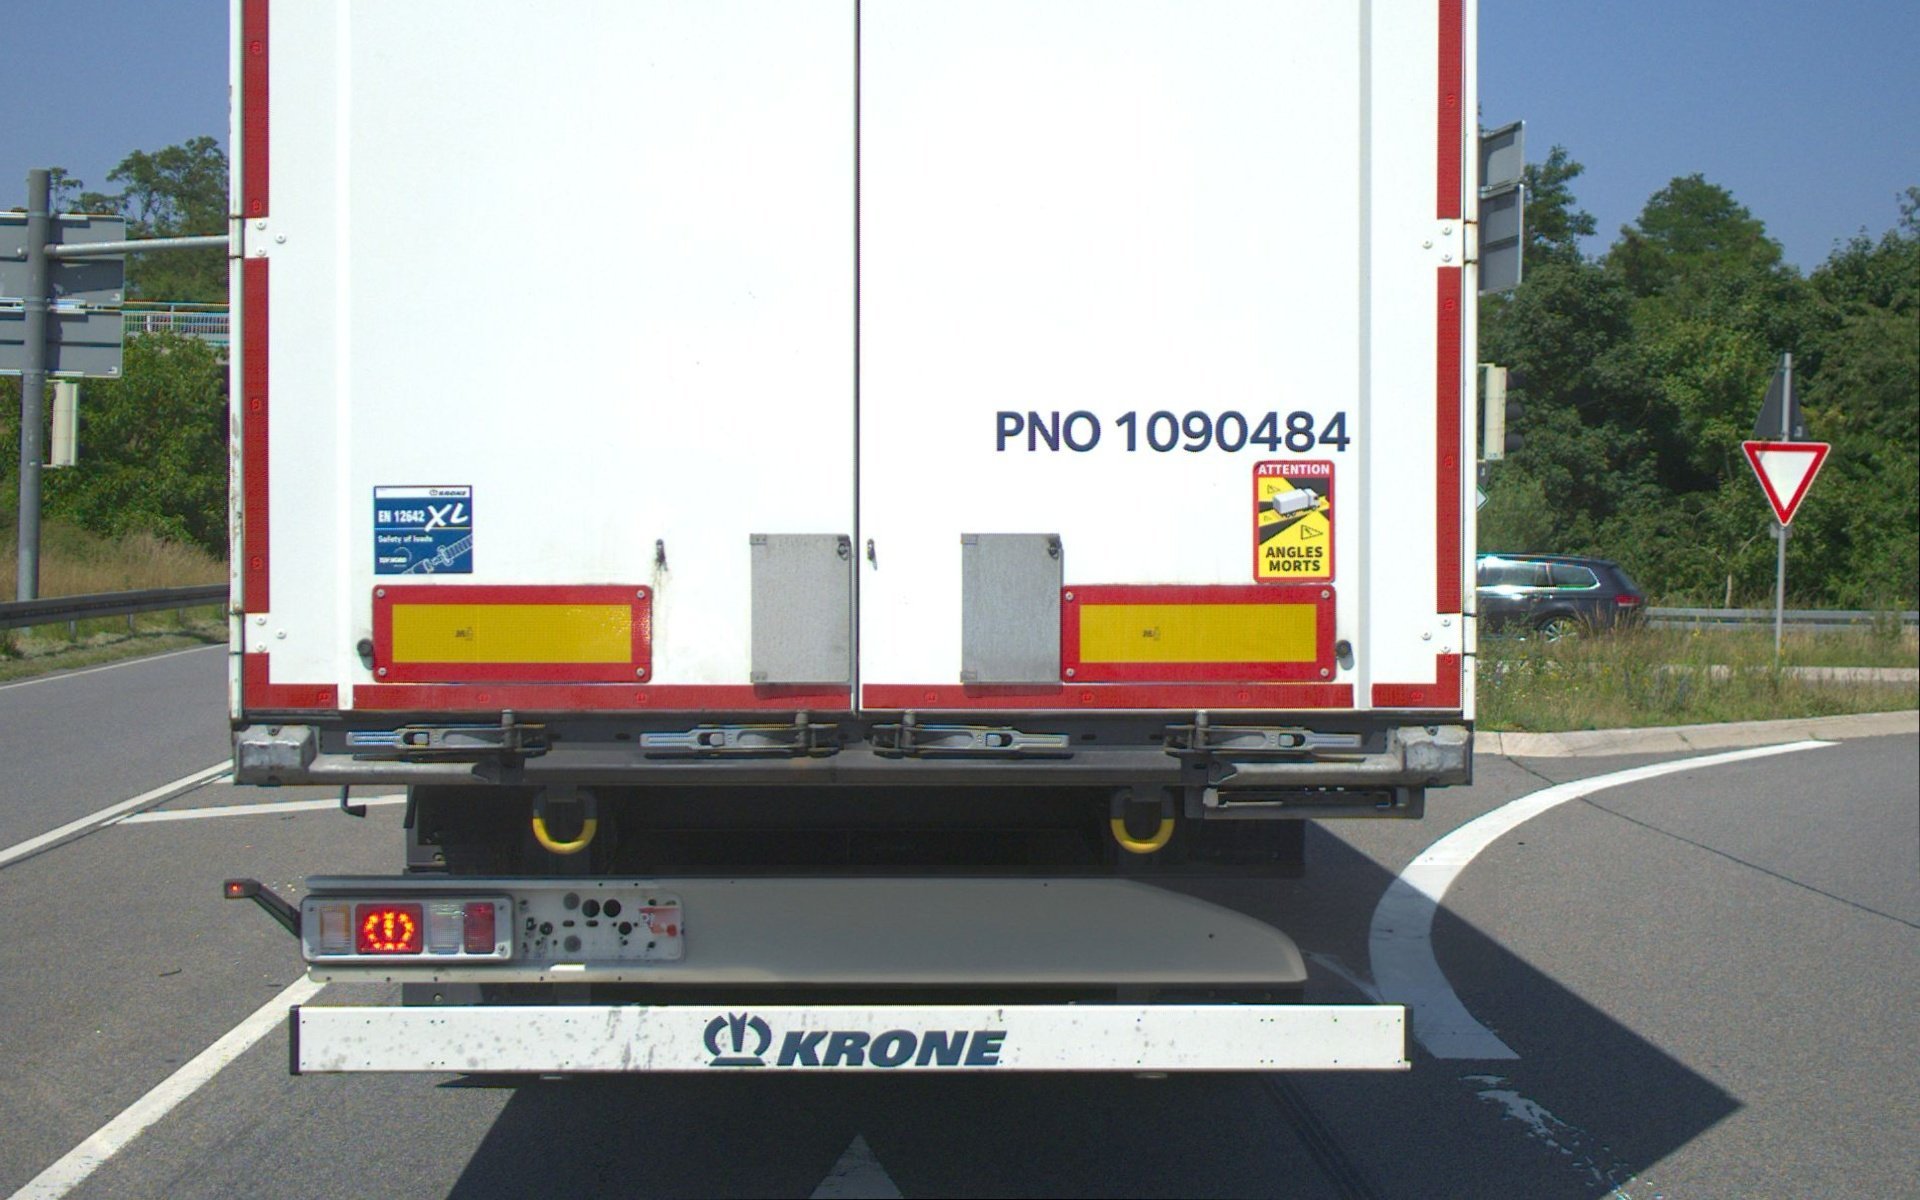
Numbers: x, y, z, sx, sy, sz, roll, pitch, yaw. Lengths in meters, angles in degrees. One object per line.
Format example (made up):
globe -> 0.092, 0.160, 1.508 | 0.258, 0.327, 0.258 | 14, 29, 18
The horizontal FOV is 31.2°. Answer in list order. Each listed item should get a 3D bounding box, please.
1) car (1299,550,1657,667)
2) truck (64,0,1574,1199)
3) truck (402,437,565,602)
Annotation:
car -> 7.068, 0.102, 46.803 | 4.685, 1.508, 1.852 | 1, 0, 13
truck -> -0.377, -0.657, 11.781 | 2.987, 3.928, 9.876 | 1, 1, -1
truck -> -10.685, -1.756, 77.814 | 2.644, 3.526, 7.890 | 1, 0, -1
